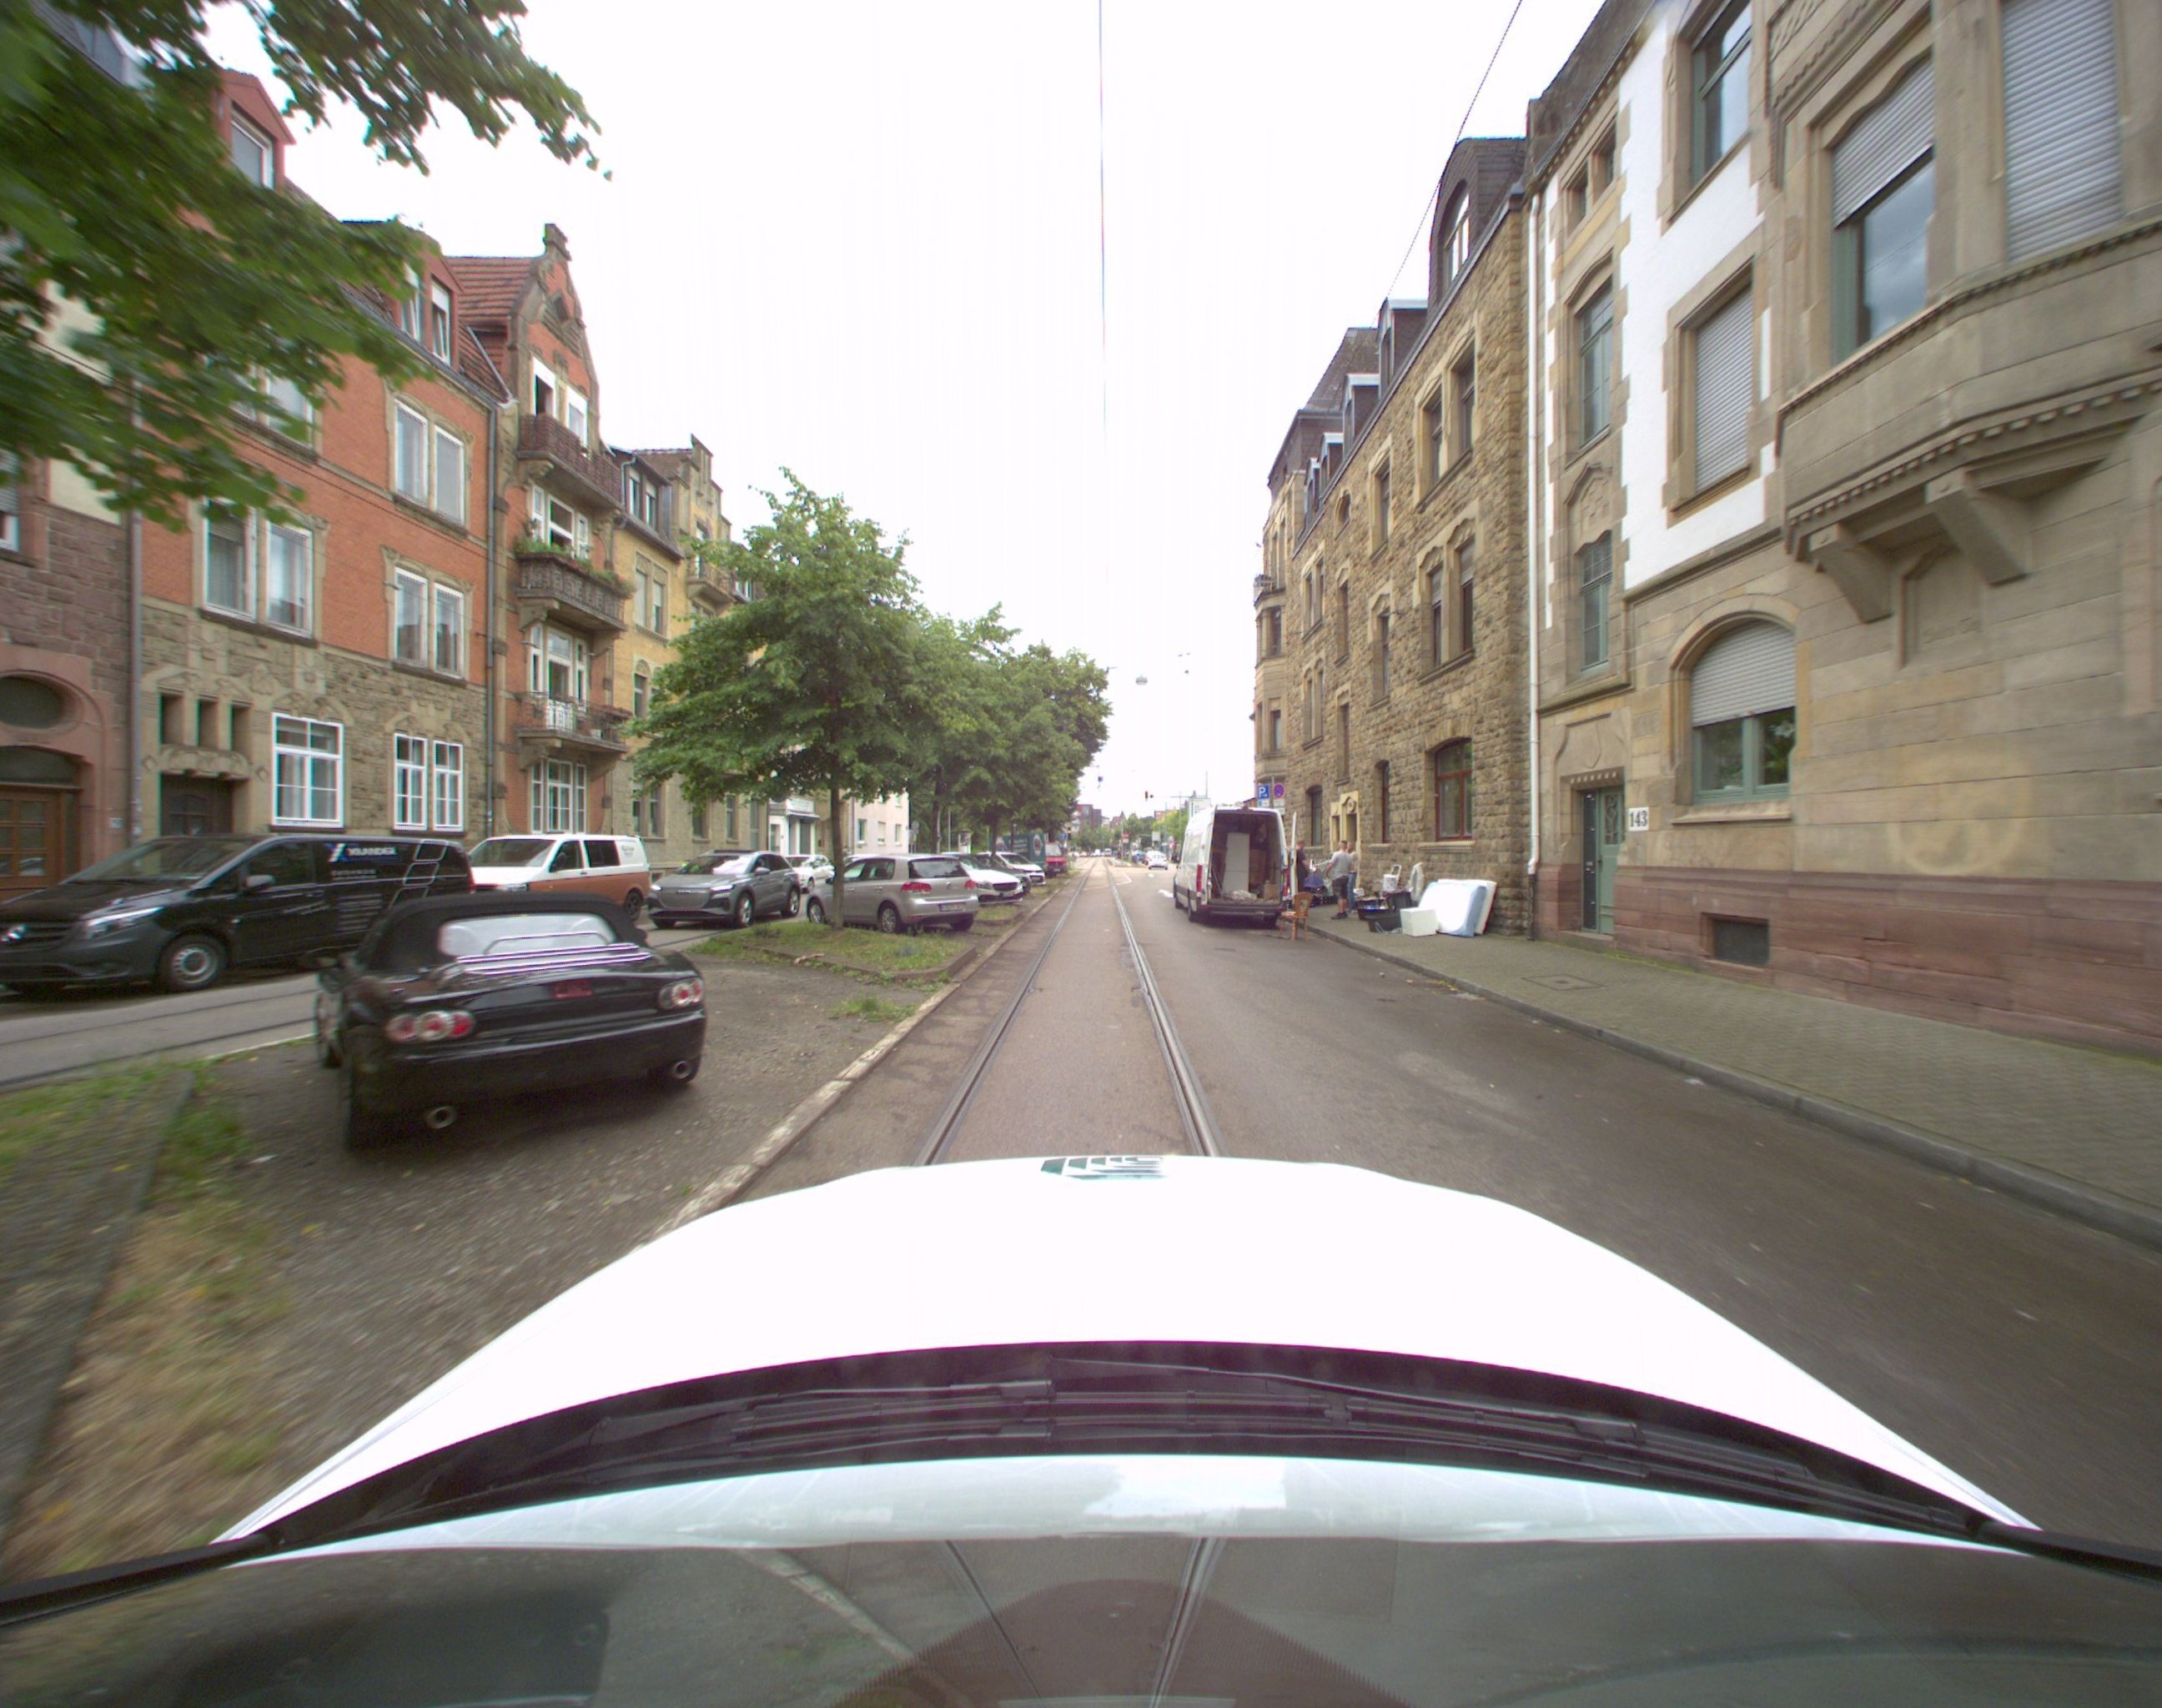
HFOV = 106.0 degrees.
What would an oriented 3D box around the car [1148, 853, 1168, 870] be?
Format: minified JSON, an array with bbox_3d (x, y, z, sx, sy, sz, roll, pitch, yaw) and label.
[{"bbox_3d":[6.999,0.628,74.194,1.774,1.472,4.016,0,0,5],"label":"car"}]

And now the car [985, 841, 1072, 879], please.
[{"bbox_3d":[-2.903,0.292,44.476,4.707,1.974,1.972,0,0,40],"label":"car"}]

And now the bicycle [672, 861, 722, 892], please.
[{"bbox_3d":[-13.811,0.791,29.356,0.708,1.072,2.259,0,0,0],"label":"bicycle"}]

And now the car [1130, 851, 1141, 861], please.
[{"bbox_3d":[10.224,0.361,152.491,1.776,1.679,4.384,0,0,2],"label":"car"}]

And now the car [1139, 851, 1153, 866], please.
[{"bbox_3d":[9.128,0.626,114.683,1.776,1.962,4.384,0,0,2],"label":"car"}]

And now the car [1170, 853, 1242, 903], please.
[{"bbox_3d":[4.005,0.709,26.815,1.816,1.450,5.010,1,0,2],"label":"car"}]

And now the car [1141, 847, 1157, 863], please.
[{"bbox_3d":[8.583,0.130,102.815,1.776,1.962,4.384,0,0,2],"label":"car"}]

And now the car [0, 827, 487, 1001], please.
[{"bbox_3d":[-10.778,0.624,10.904,1.807,1.781,5.118,0,0,1],"label":"car"}]

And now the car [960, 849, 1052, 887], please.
[{"bbox_3d":[-3.128,0.534,33.590,3.815,1.463,1.700,0,0,43],"label":"car"}]

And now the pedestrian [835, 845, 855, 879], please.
[{"bbox_3d":[-12.600,0.423,43.459,0.795,1.766,0.900,0,0,0],"label":"pedestrian"}]

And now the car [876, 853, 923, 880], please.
[{"bbox_3d":[-10.227,0.658,46.107,1.629,1.443,4.570,0,0,0],"label":"car"}]

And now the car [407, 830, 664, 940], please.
[{"bbox_3d":[-10.987,0.571,17.015,1.875,1.952,5.094,0,0,1],"label":"car"}]

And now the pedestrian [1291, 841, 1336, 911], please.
[{"bbox_3d":[5.826,0.549,20.406,0.863,1.700,0.535,-2,0,-13],"label":"pedestrian"}]

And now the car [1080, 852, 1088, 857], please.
[{"bbox_3d":[0.914,0.156,239.693,1.760,1.493,3.895,0,0,8],"label":"car"}]

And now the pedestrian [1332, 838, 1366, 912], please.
[{"bbox_3d":[6.341,0.488,19.268,0.507,1.717,0.579,-2,0,-9],"label":"pedestrian"}]

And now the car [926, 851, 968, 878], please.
[{"bbox_3d":[-7.553,0.580,46.194,1.638,1.504,3.883,0,0,1],"label":"car"}]

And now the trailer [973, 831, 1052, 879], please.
[{"bbox_3d":[-3.511,0.063,41.589,3.624,2.344,1.943,0,0,34],"label":"trailer"}]

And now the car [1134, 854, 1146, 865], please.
[{"bbox_3d":[9.586,0.849,131.965,1.776,1.679,4.384,0,0,2],"label":"car"}]

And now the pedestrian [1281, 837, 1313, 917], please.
[{"bbox_3d":[5.082,0.525,19.210,0.497,1.815,0.803,-2,0,3],"label":"pedestrian"}]

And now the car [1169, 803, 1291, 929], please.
[{"bbox_3d":[3.473,0.234,20.419,2.005,2.549,7.020,2,0,2],"label":"car"}]

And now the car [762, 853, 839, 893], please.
[{"bbox_3d":[-10.834,0.692,31.712,1.629,1.443,3.923,0,0,0],"label":"car"}]

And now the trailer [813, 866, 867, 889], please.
[{"bbox_3d":[-10.688,1.010,36.234,1.450,0.893,3.076,-2,0,0],"label":"trailer"}]

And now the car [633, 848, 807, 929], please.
[{"bbox_3d":[-7.797,0.684,18.155,1.798,1.579,4.547,0,0,1],"label":"car"}]

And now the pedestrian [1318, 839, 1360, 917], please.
[{"bbox_3d":[5.841,0.535,18.456,0.706,1.700,0.488,-2,0,-27],"label":"pedestrian"}]

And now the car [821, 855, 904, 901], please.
[{"bbox_3d":[-7.676,0.794,29.060,1.638,1.504,4.622,0,0,1],"label":"car"}]

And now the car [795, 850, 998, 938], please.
[{"bbox_3d":[-3.660,0.666,15.741,4.065,1.484,1.808,0,0,42],"label":"car"}]

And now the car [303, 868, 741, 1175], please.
[{"bbox_3d":[-3.903,0.734,5.382,3.914,1.202,1.678,0,0,45],"label":"car"}]

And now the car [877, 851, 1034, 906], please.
[{"bbox_3d":[-3.671,0.635,23.387,4.628,1.435,1.911,0,0,41],"label":"car"}]

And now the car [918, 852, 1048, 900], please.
[{"bbox_3d":[-3.267,0.656,26.540,4.286,1.435,1.910,0,0,43],"label":"car"}]
